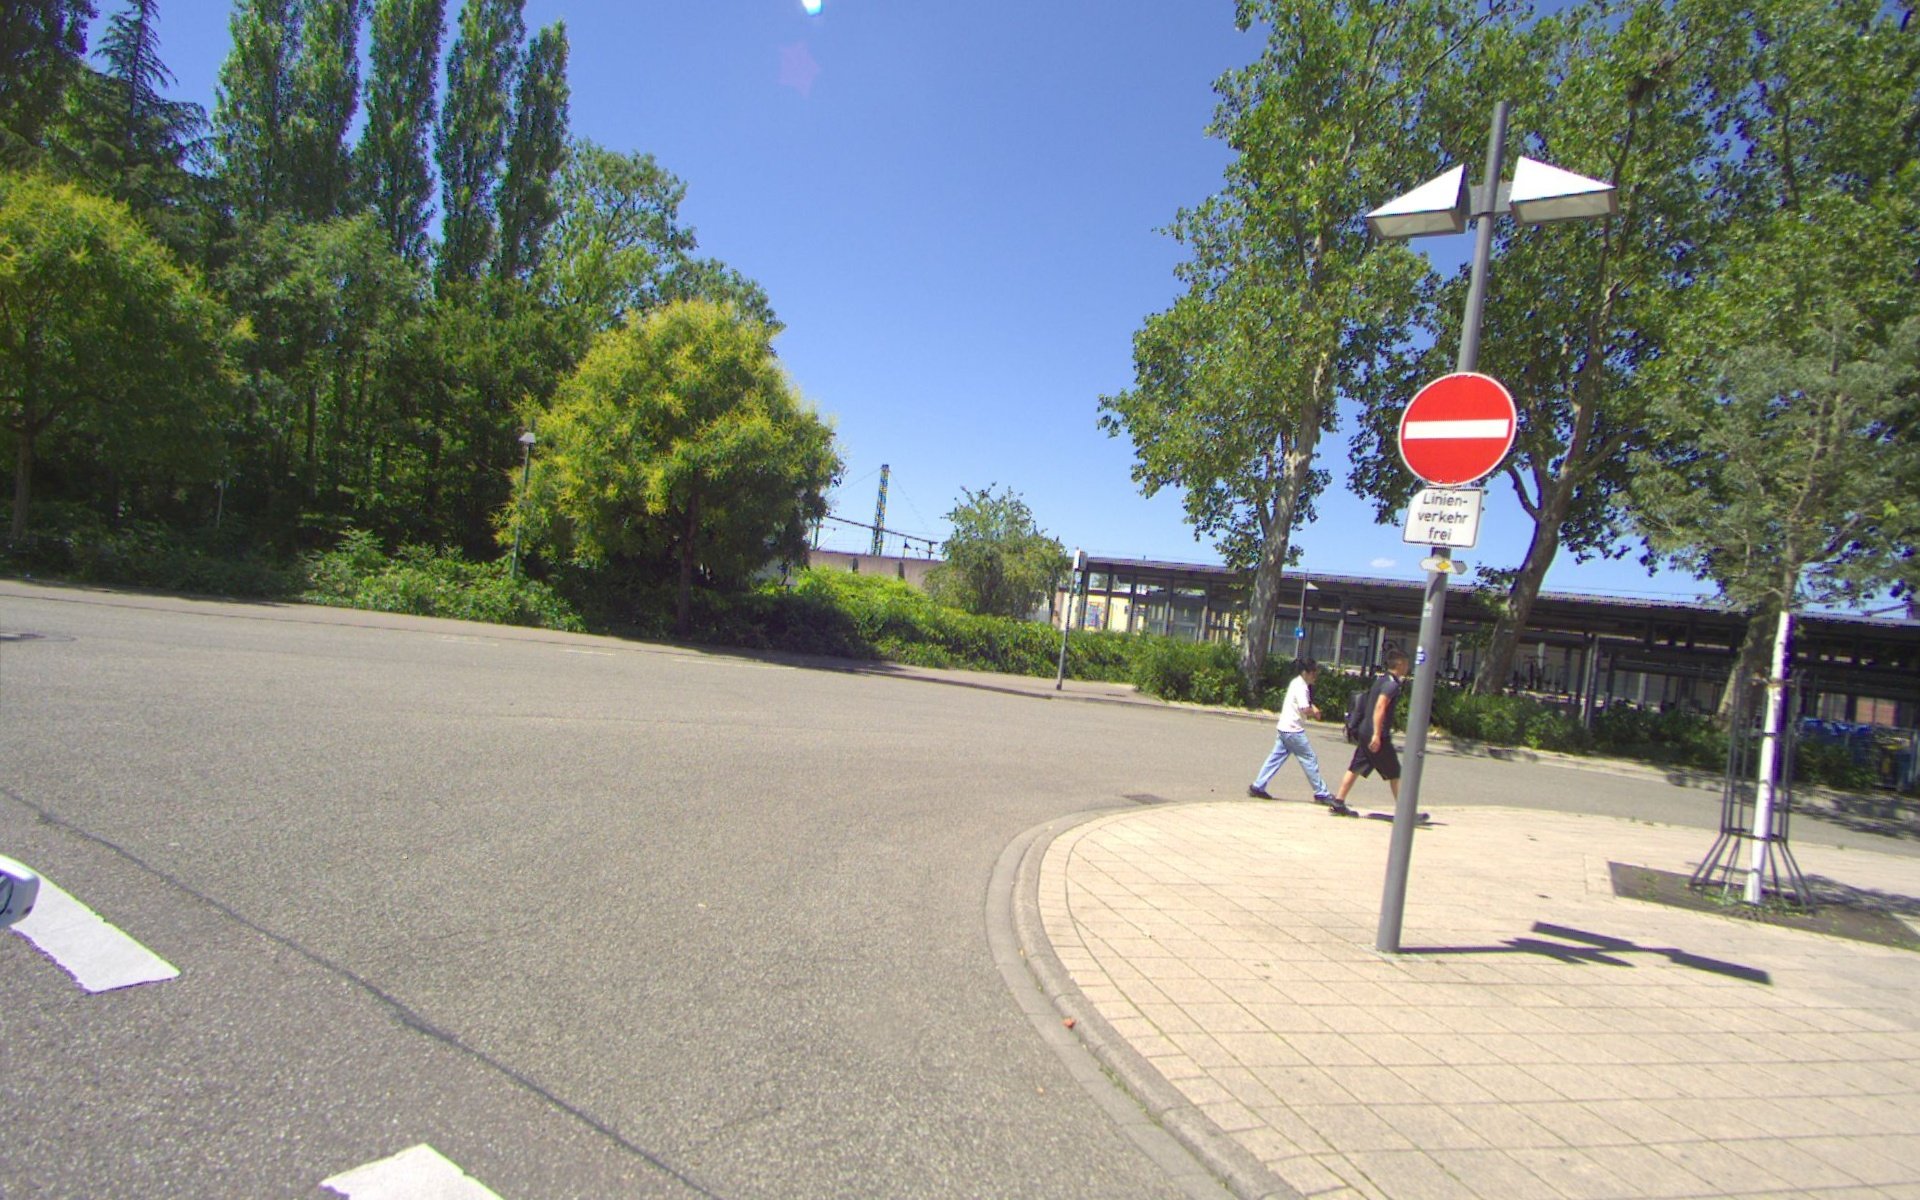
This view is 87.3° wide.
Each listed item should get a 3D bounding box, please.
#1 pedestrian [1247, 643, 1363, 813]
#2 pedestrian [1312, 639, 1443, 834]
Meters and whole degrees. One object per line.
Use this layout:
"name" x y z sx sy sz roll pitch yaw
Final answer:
"pedestrian" 3.921 1.428 11.438 0.902 1.757 0.673 6 0 39
"pedestrian" 4.287 1.369 10.324 0.902 1.806 0.692 6 0 40
